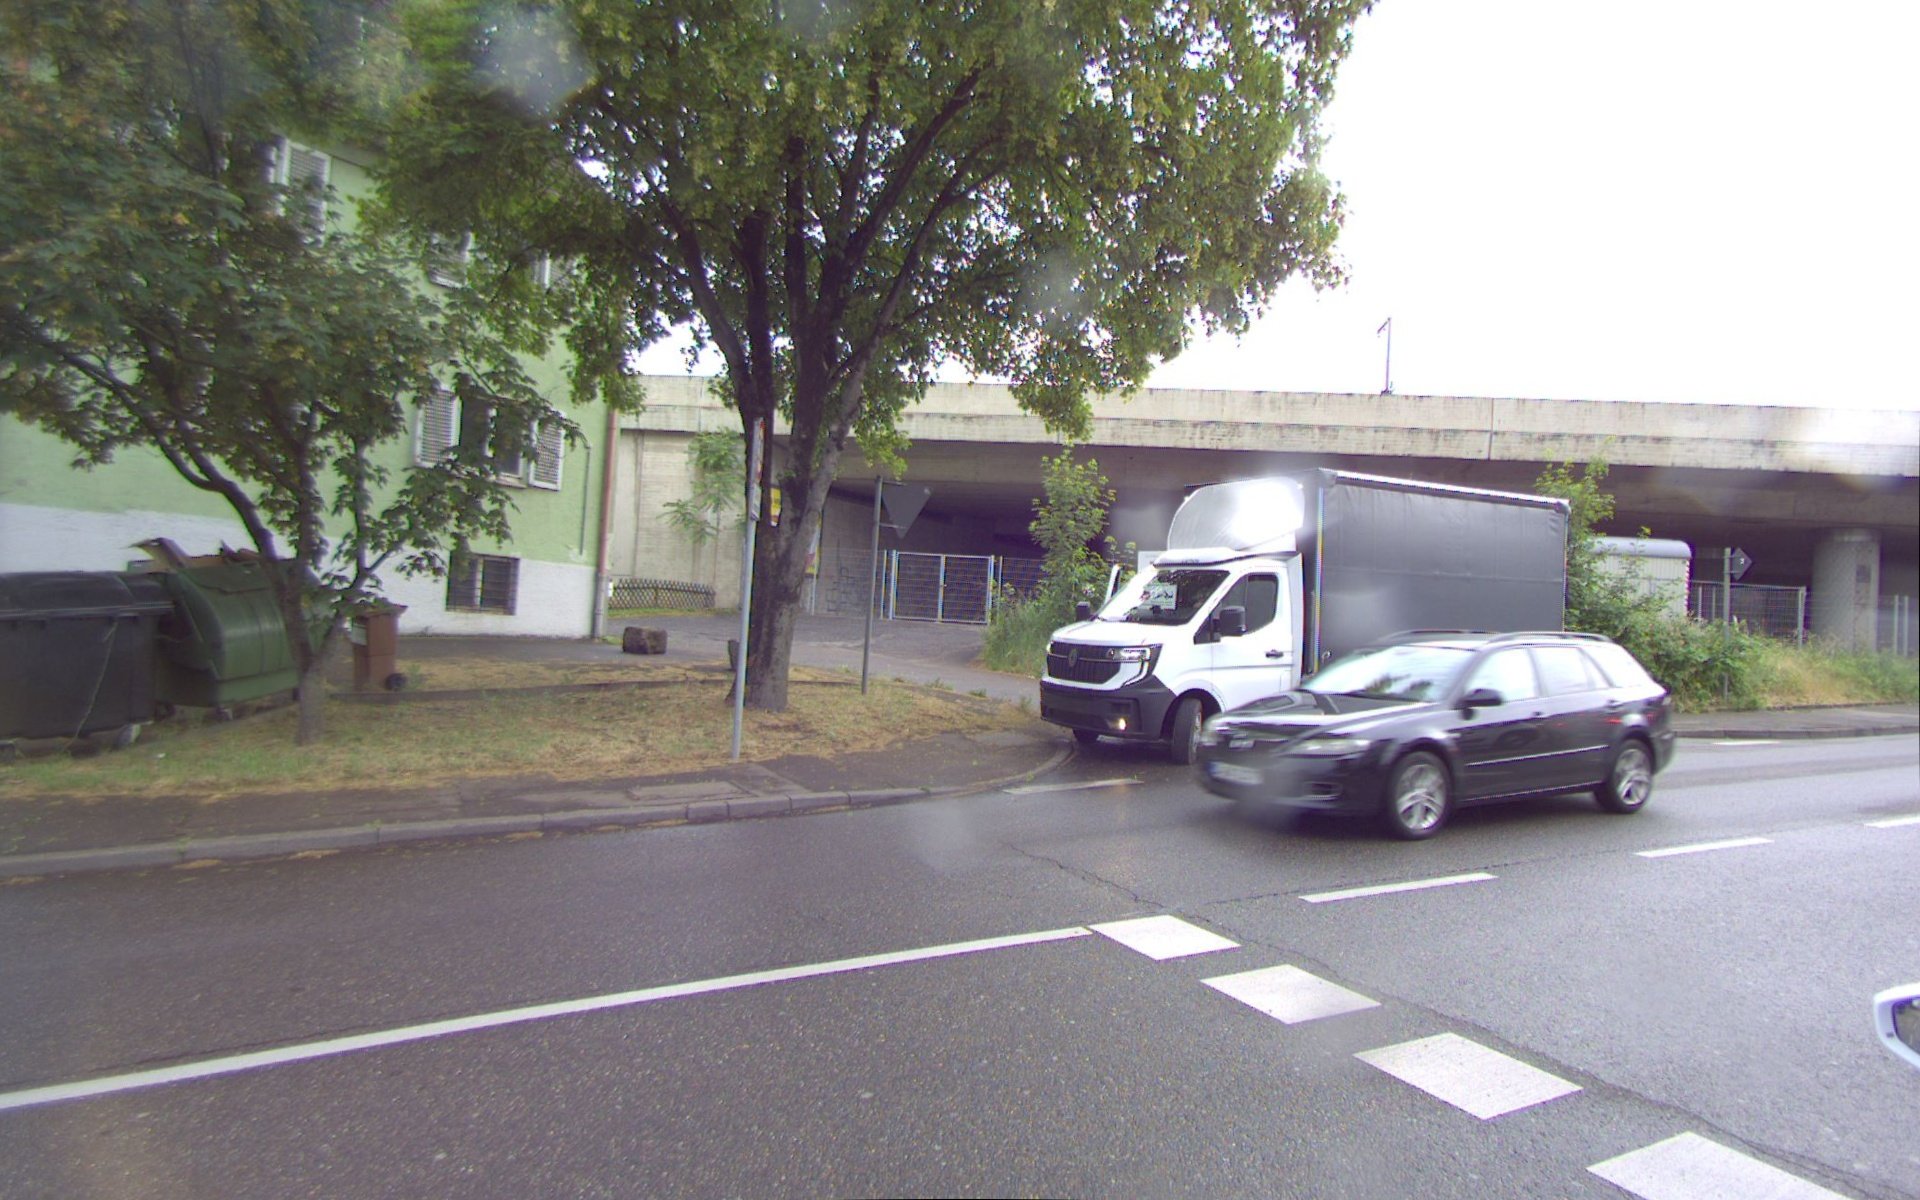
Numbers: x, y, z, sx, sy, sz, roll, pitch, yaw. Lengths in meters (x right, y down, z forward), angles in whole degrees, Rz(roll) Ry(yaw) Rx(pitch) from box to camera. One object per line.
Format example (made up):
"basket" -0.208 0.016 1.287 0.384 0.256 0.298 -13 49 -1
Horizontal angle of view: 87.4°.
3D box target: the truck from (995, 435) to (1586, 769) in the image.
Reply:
"truck" 4.443 0.175 12.859 7.681 3.279 2.599 3 -1 -29

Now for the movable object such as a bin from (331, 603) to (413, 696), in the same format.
"movable object such as a bin" -6.371 0.535 10.906 0.715 0.970 0.554 3 -1 -30

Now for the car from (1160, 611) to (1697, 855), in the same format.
"car" 3.988 0.949 8.423 4.357 1.590 1.834 2 -1 -28

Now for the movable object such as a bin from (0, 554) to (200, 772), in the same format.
"movable object such as a bin" -7.314 0.422 8.059 1.268 1.457 1.463 5 5 13

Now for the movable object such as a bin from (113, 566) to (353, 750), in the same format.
"movable object such as a bin" -6.747 0.475 9.424 1.078 1.457 1.463 5 5 13
